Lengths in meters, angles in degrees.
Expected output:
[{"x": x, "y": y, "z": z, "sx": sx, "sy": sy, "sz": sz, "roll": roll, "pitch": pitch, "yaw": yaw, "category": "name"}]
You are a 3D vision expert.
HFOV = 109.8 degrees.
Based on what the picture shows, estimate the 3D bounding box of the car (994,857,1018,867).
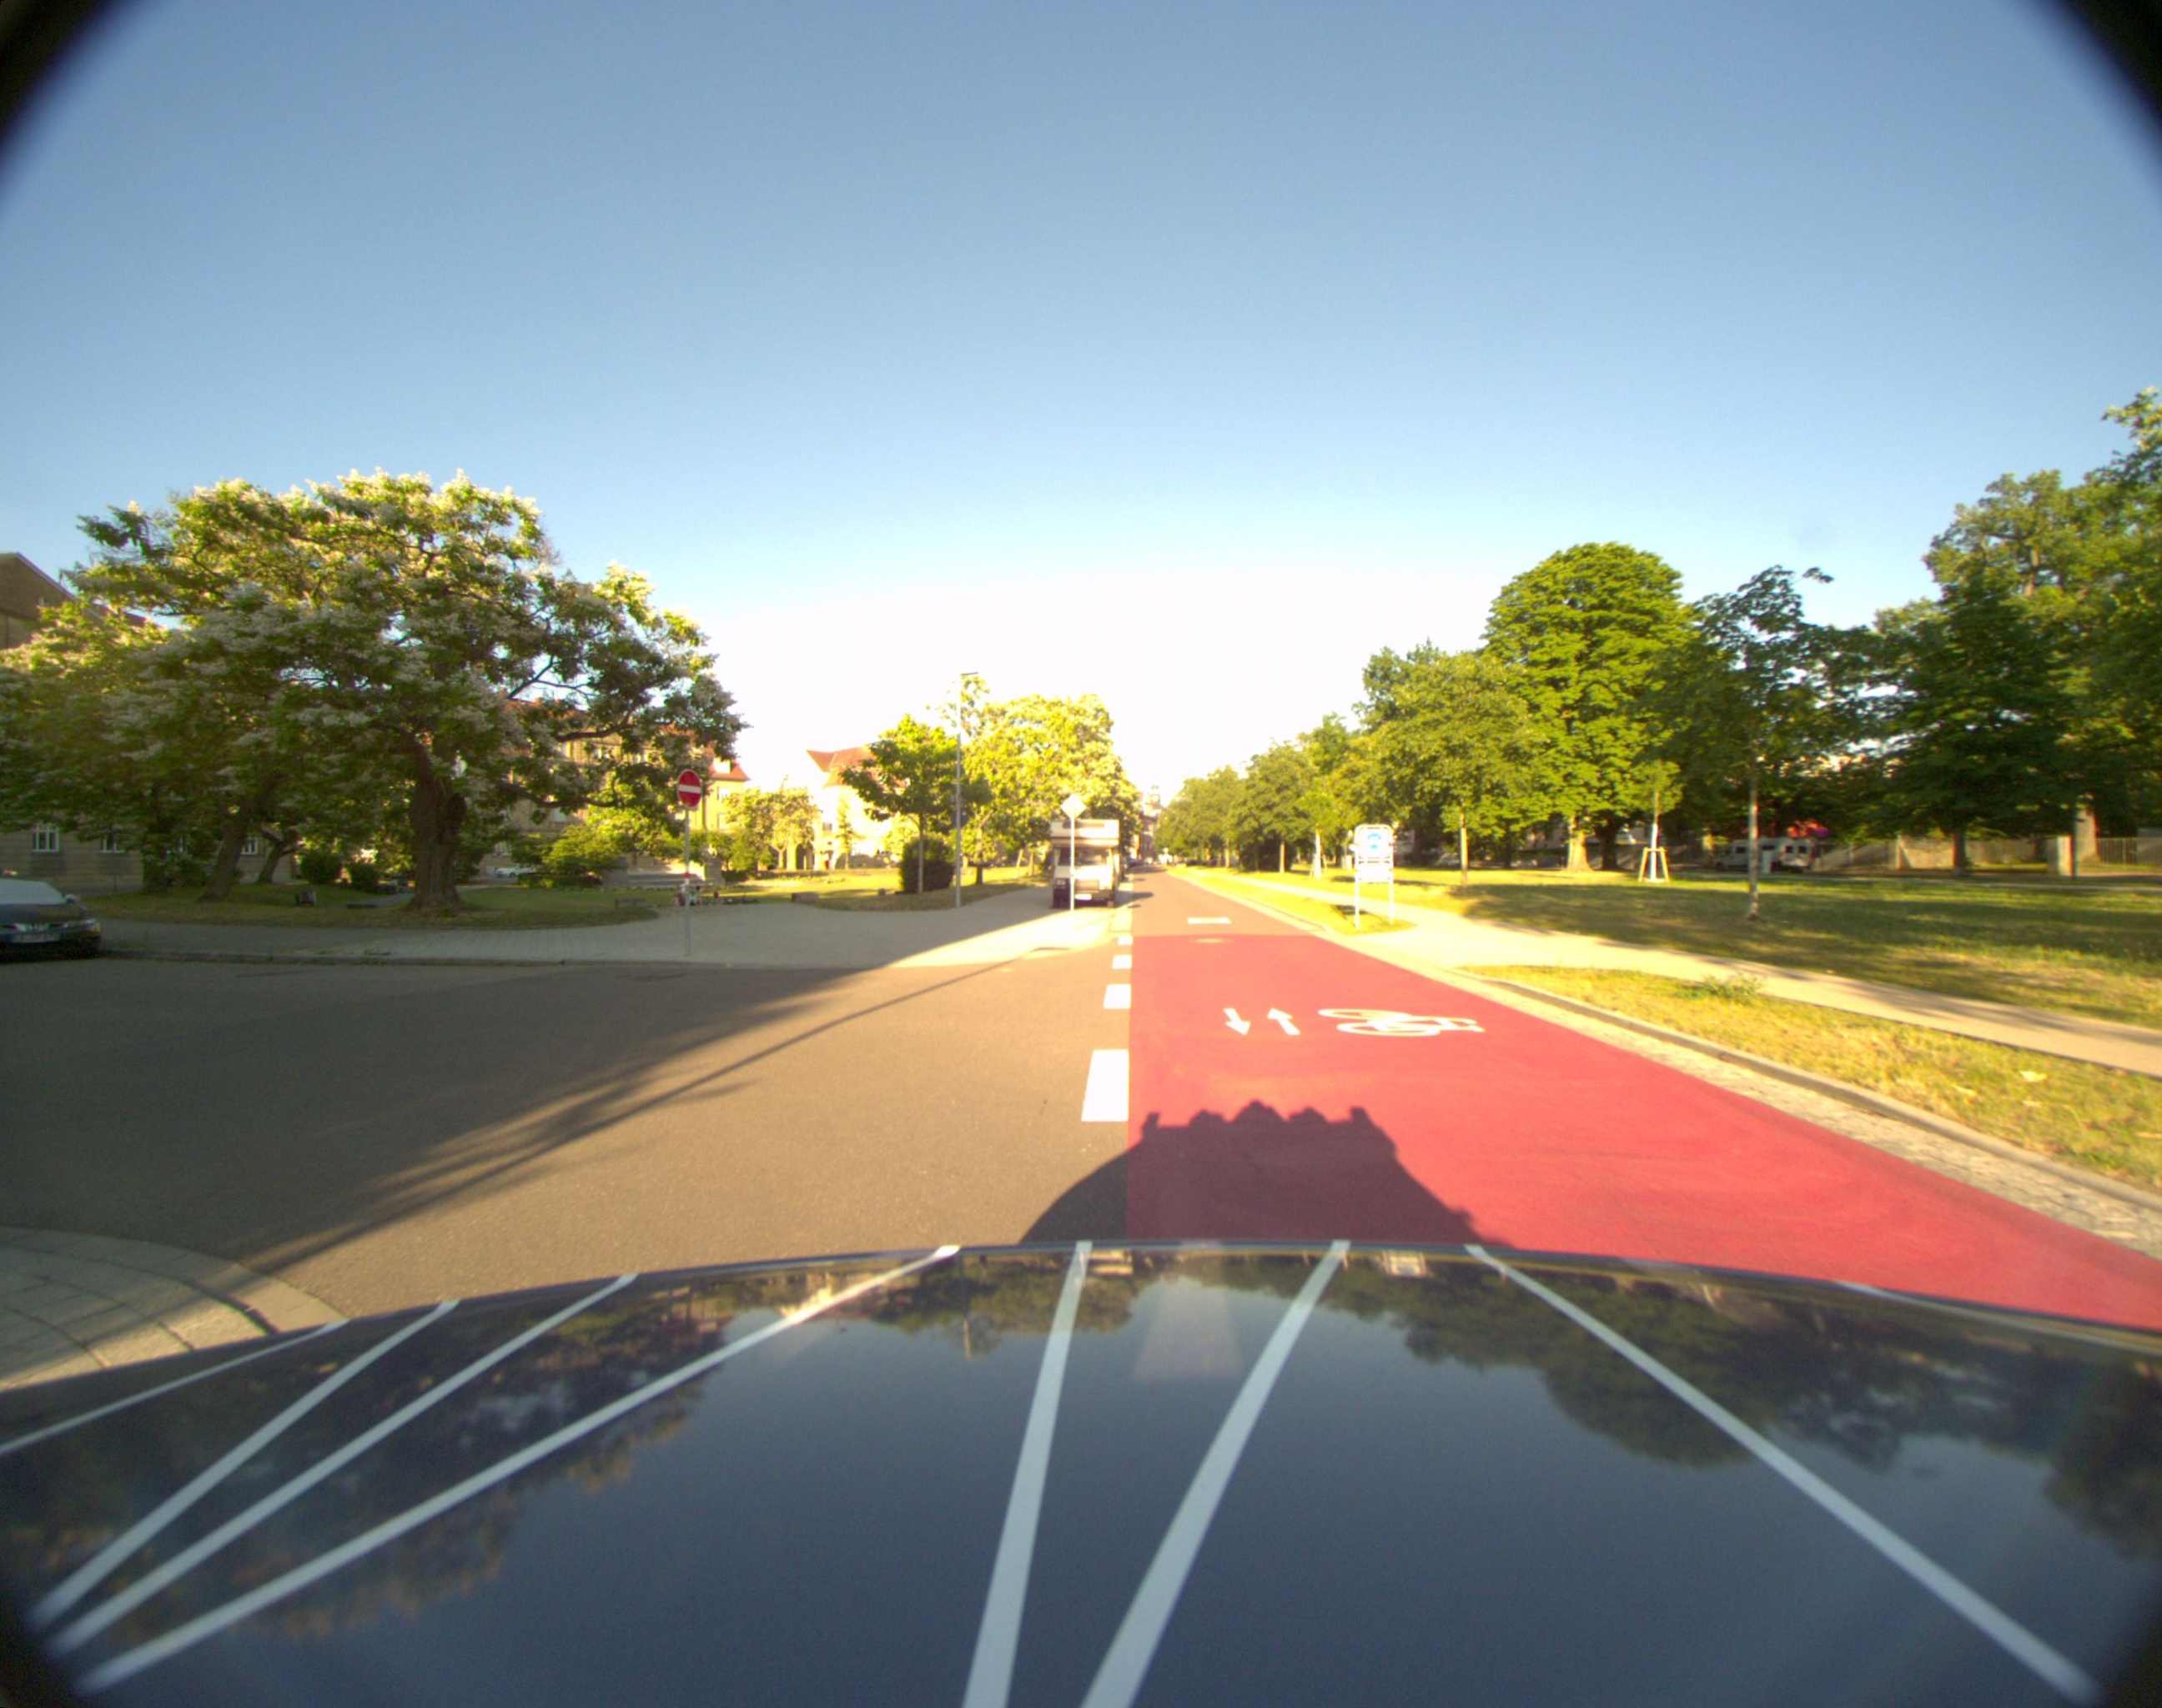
[{"x": -12.498, "y": 1.307, "z": 126.330, "sx": 3.706, "sy": 1.490, "sz": 1.724, "roll": -1, "pitch": 0, "yaw": -14, "category": "car"}]

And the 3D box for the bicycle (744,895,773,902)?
[{"x": -17.160, "y": 2.366, "z": 40.468, "sx": 0.658, "sy": 0.317, "sz": 1.704, "roll": 0, "pitch": 0, "yaw": 6, "category": "bicycle"}]

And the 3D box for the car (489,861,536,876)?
[{"x": -58.696, "y": 1.463, "z": 78.478, "sx": 1.723, "sy": 1.489, "sz": 3.708, "roll": -1, "pitch": -2, "yaw": 11, "category": "car"}]

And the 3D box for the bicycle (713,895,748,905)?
[{"x": -17.449, "y": 2.307, "z": 37.899, "sx": 0.658, "sy": 0.380, "sz": 1.933, "roll": 0, "pitch": 0, "yaw": 6, "category": "bicycle"}]

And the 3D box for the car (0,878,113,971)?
[{"x": -18.474, "y": 1.152, "z": 12.698, "sx": 3.991, "sy": 1.419, "sz": 1.729, "roll": -1, "pitch": -1, "yaw": 21, "category": "car"}]

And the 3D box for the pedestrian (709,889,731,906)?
[{"x": -16.934, "y": 2.024, "z": 35.650, "sx": 0.497, "sy": 0.760, "sz": 0.812, "roll": -1, "pitch": -1, "yaw": 43, "category": "pedestrian"}]

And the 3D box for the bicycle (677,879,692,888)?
[{"x": -28.238, "y": 2.092, "z": 54.145, "sx": 0.907, "sy": 0.648, "sz": 0.438, "roll": -1, "pitch": 0, "yaw": -35, "category": "bicycle"}]

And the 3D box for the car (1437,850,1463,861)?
[{"x": 51.731, "y": 0.255, "z": 106.632, "sx": 1.796, "sy": 1.455, "sz": 4.001, "roll": -1, "pitch": 0, "yaw": 3, "category": "car"}]

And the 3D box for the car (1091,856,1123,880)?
[{"x": 1.757, "y": 0.921, "z": 50.917, "sx": 1.998, "sy": 1.501, "sz": 4.001, "roll": -1, "pitch": 0, "yaw": 3, "category": "car"}]

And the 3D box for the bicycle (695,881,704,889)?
[{"x": -27.423, "y": 2.235, "z": 54.640, "sx": 0.488, "sy": 0.579, "sz": 0.438, "roll": -1, "pitch": 0, "yaw": -35, "category": "bicycle"}]

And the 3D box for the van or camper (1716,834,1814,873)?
[{"x": 47.818, "y": -0.020, "z": 53.338, "sx": 1.998, "sy": 2.425, "sz": 5.468, "roll": -4, "pitch": 0, "yaw": 2, "category": "van or camper"}]

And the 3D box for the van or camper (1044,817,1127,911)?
[{"x": 0.292, "y": 0.268, "z": 25.817, "sx": 2.427, "sy": 2.766, "sz": 5.953, "roll": 2, "pitch": 1, "yaw": 3, "category": "van or camper"}]

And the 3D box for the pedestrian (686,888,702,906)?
[{"x": -18.711, "y": 2.092, "z": 36.750, "sx": 0.453, "sy": 0.830, "sz": 0.499, "roll": -1, "pitch": 0, "yaw": 37, "category": "pedestrian"}]

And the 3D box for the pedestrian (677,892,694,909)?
[{"x": -17.989, "y": 2.095, "z": 34.550, "sx": 0.498, "sy": 0.742, "sz": 0.455, "roll": -1, "pitch": 0, "yaw": 0, "category": "pedestrian"}]

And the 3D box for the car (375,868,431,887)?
[{"x": -60.650, "y": 2.089, "z": 68.049, "sx": 1.776, "sy": 1.574, "sz": 3.997, "roll": -1, "pitch": 0, "yaw": -8, "category": "car"}]
